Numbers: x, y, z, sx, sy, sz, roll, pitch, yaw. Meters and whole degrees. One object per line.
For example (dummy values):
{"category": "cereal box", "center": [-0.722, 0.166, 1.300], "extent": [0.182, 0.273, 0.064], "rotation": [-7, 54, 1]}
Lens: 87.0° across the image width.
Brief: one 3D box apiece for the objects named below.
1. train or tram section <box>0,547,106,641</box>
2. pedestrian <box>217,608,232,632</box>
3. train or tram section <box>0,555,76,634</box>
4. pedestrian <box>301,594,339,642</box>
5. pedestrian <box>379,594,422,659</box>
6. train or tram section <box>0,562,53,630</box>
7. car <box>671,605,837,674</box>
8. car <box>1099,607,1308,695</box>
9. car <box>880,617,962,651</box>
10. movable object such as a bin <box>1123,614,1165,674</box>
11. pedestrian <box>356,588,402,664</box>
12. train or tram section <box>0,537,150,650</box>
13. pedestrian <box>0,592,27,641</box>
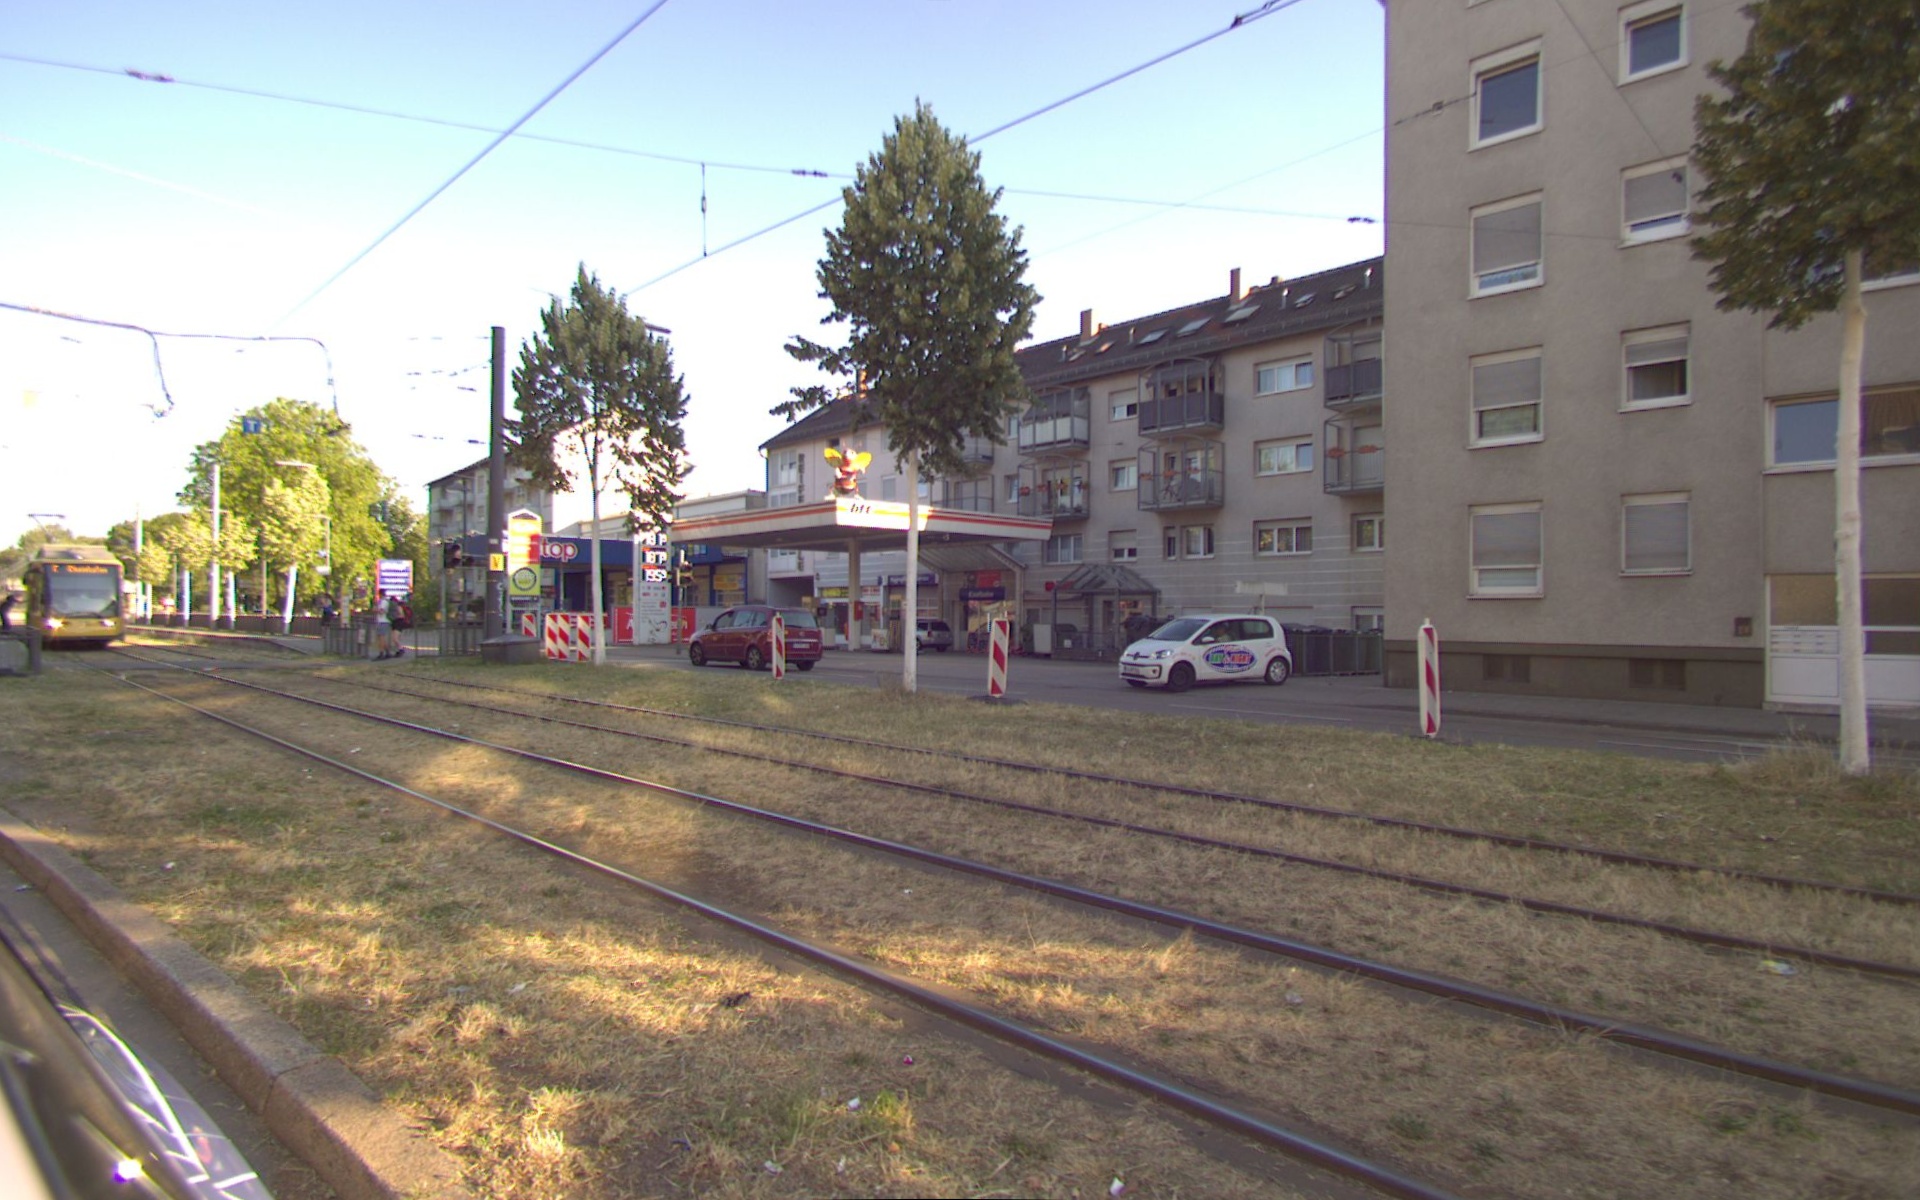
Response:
{"category": "train or tram section", "center": [-39.235, -0.194, 43.231], "extent": [10.098, 3.544, 3.002], "rotation": [0, -2, 43]}
{"category": "pedestrian", "center": [-57.647, 1.556, 79.332], "extent": [1.000, 1.896, 0.745], "rotation": [-1, 1, 43]}
{"category": "train or tram section", "center": [-46.537, -0.220, 50.184], "extent": [10.098, 3.544, 3.002], "rotation": [0, -2, 43]}
{"category": "pedestrian", "center": [-22.913, 0.635, 36.208], "extent": [0.926, 1.666, 0.924], "rotation": [-1, 1, 44]}
{"category": "pedestrian", "center": [-15.430, 0.732, 27.912], "extent": [0.860, 1.760, 0.745], "rotation": [-1, -2, 41]}
{"category": "train or tram section", "center": [-53.871, -0.241, 57.147], "extent": [10.098, 3.544, 3.002], "rotation": [0, -2, 43]}
{"category": "car", "center": [-5.419, 0.963, 26.178], "extent": [1.791, 1.572, 4.937], "rotation": [2, -2, -45]}
{"category": "car", "center": [4.930, 0.964, 20.498], "extent": [3.763, 1.523, 1.824], "rotation": [-2, 0, -25]}
{"category": "car", "center": [-1.851, 1.558, 47.414], "extent": [1.790, 1.535, 3.832], "rotation": [2, -2, -43]}
{"category": "movable object such as a bin", "center": [4.377, 1.037, 24.082], "extent": [0.749, 1.411, 0.656], "rotation": [-1, -2, 43]}
{"category": "pedestrian", "center": [-15.336, 0.687, 26.720], "extent": [0.755, 1.947, 0.848], "rotation": [-1, -2, 42]}
{"category": "train or tram section", "center": [-31.907, -0.163, 36.269], "extent": [10.098, 3.544, 3.002], "rotation": [0, -2, 43]}
{"category": "pedestrian", "center": [-30.507, 0.527, 32.330], "extent": [0.788, 1.562, 0.907], "rotation": [0, 0, 36]}
